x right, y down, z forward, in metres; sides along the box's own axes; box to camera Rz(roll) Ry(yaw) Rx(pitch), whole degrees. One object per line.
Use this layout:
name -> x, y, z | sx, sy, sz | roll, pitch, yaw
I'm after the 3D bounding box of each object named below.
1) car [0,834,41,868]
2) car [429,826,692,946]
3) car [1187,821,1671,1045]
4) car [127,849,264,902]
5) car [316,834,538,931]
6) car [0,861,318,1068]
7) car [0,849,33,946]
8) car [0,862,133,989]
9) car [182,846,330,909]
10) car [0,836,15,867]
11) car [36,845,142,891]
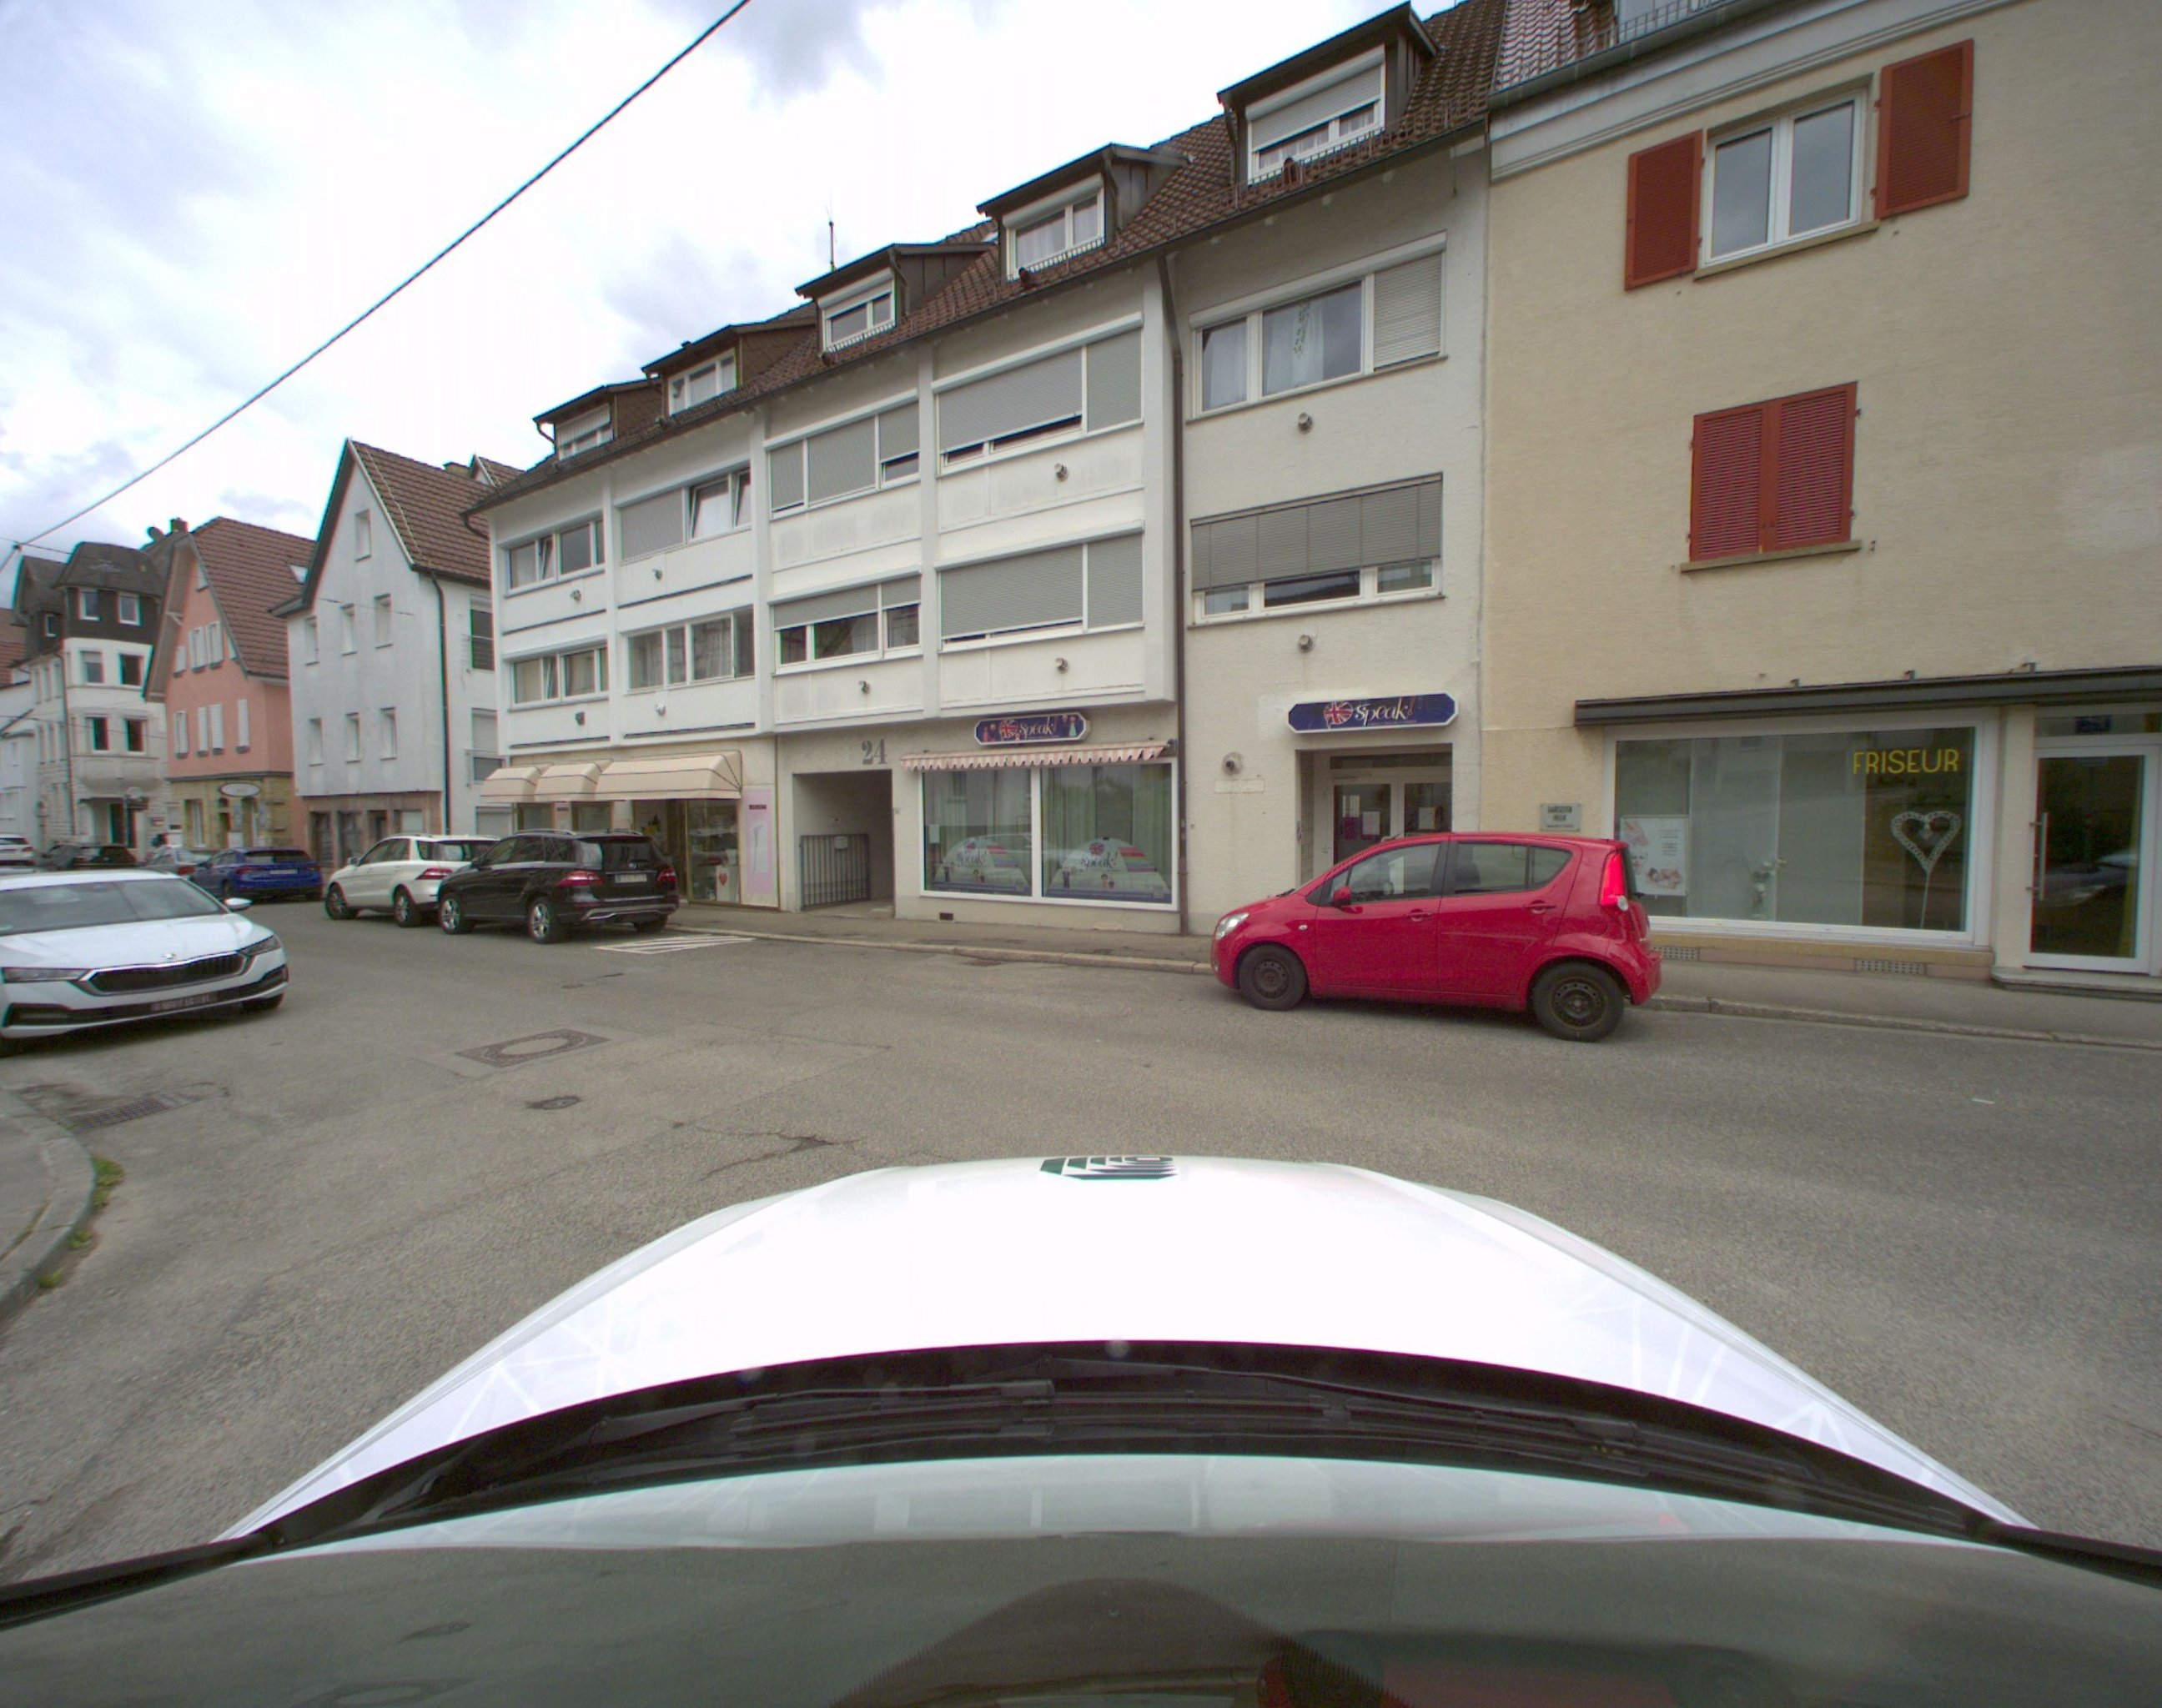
car -> -52.392, -0.156, 39.349 | 3.854, 1.525, 1.782 | 2, 2, 25
car -> -8.933, 0.476, 13.921 | 4.313, 1.779, 1.959 | -1, 1, 30
car -> 2.988, 0.547, 7.346 | 3.648, 1.556, 1.708 | 0, 0, 31
car -> -25.944, 0.583, 23.837 | 3.980, 1.391, 1.765 | 0, 2, 29
car -> -13.211, 0.467, 16.424 | 4.321, 1.711, 1.952 | 1, 2, 29
car -> -9.758, 0.877, 8.066 | 4.241, 1.460, 1.810 | 0, 4, 28
car -> -19.017, 0.748, 13.248 | 3.931, 1.494, 1.786 | 0, 5, 30
car -> -14.569, 0.891, 10.762 | 4.118, 1.417, 1.786 | 0, 4, 29
car -> -21.721, 0.563, 21.436 | 3.734, 1.475, 1.791 | 0, 2, 30
car -> -57.122, -0.107, 41.872 | 3.950, 1.574, 1.973 | 0, 2, 25
car -> -35.383, 0.457, 29.032 | 3.754, 1.549, 1.729 | 1, 1, 29
